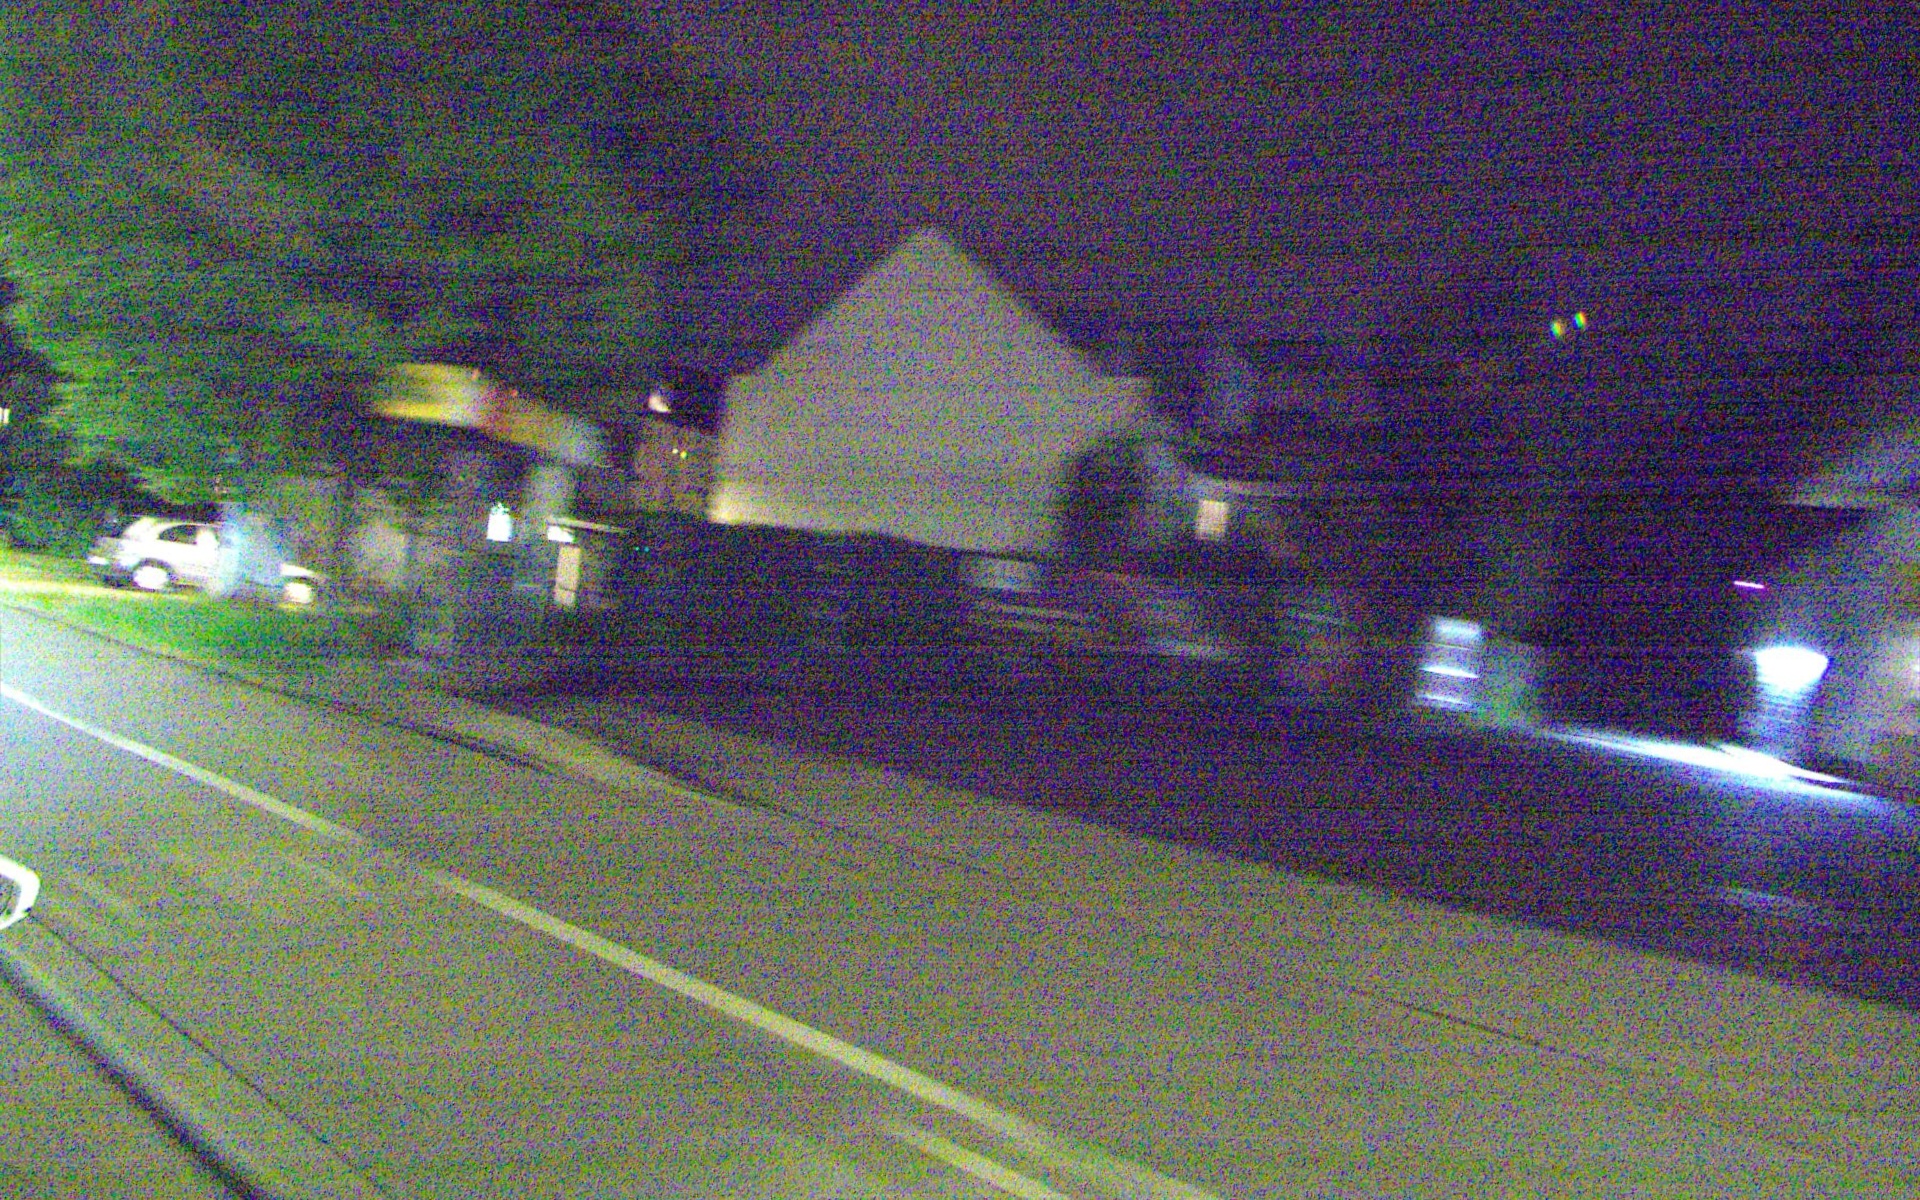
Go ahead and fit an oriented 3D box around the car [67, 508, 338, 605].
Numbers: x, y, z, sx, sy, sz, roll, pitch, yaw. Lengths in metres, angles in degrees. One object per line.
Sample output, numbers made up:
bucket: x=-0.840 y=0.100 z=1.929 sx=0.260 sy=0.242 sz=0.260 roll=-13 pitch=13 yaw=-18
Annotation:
car: x=-14.670 y=-0.805 z=19.663 sx=1.829 sy=1.371 sz=3.767 roll=7 pitch=0 yaw=33
